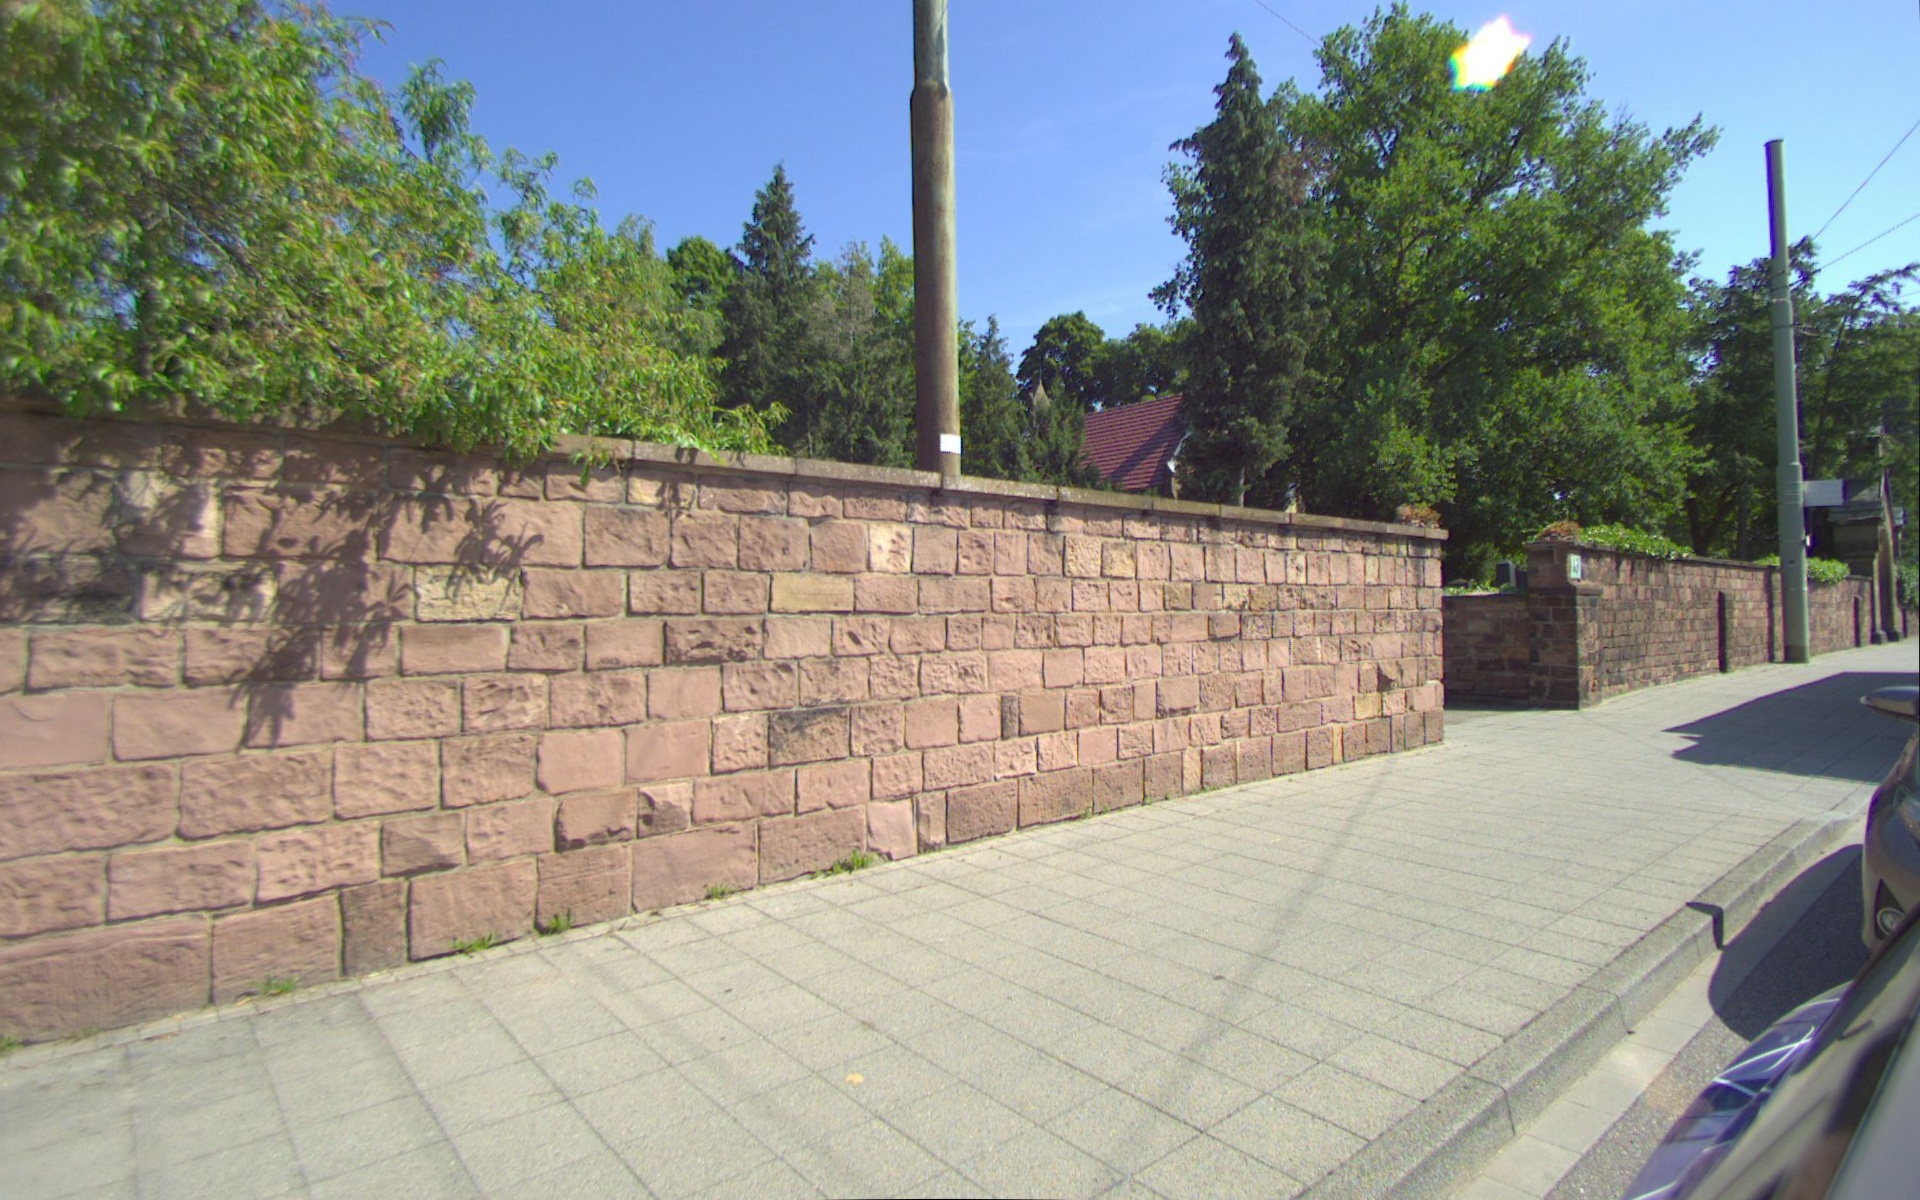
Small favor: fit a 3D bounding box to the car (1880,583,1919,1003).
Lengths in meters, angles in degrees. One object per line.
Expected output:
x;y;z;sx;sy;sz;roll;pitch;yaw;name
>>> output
5.148;0.643;4.116;3.930;1.400;1.653;0;0;-41;car
